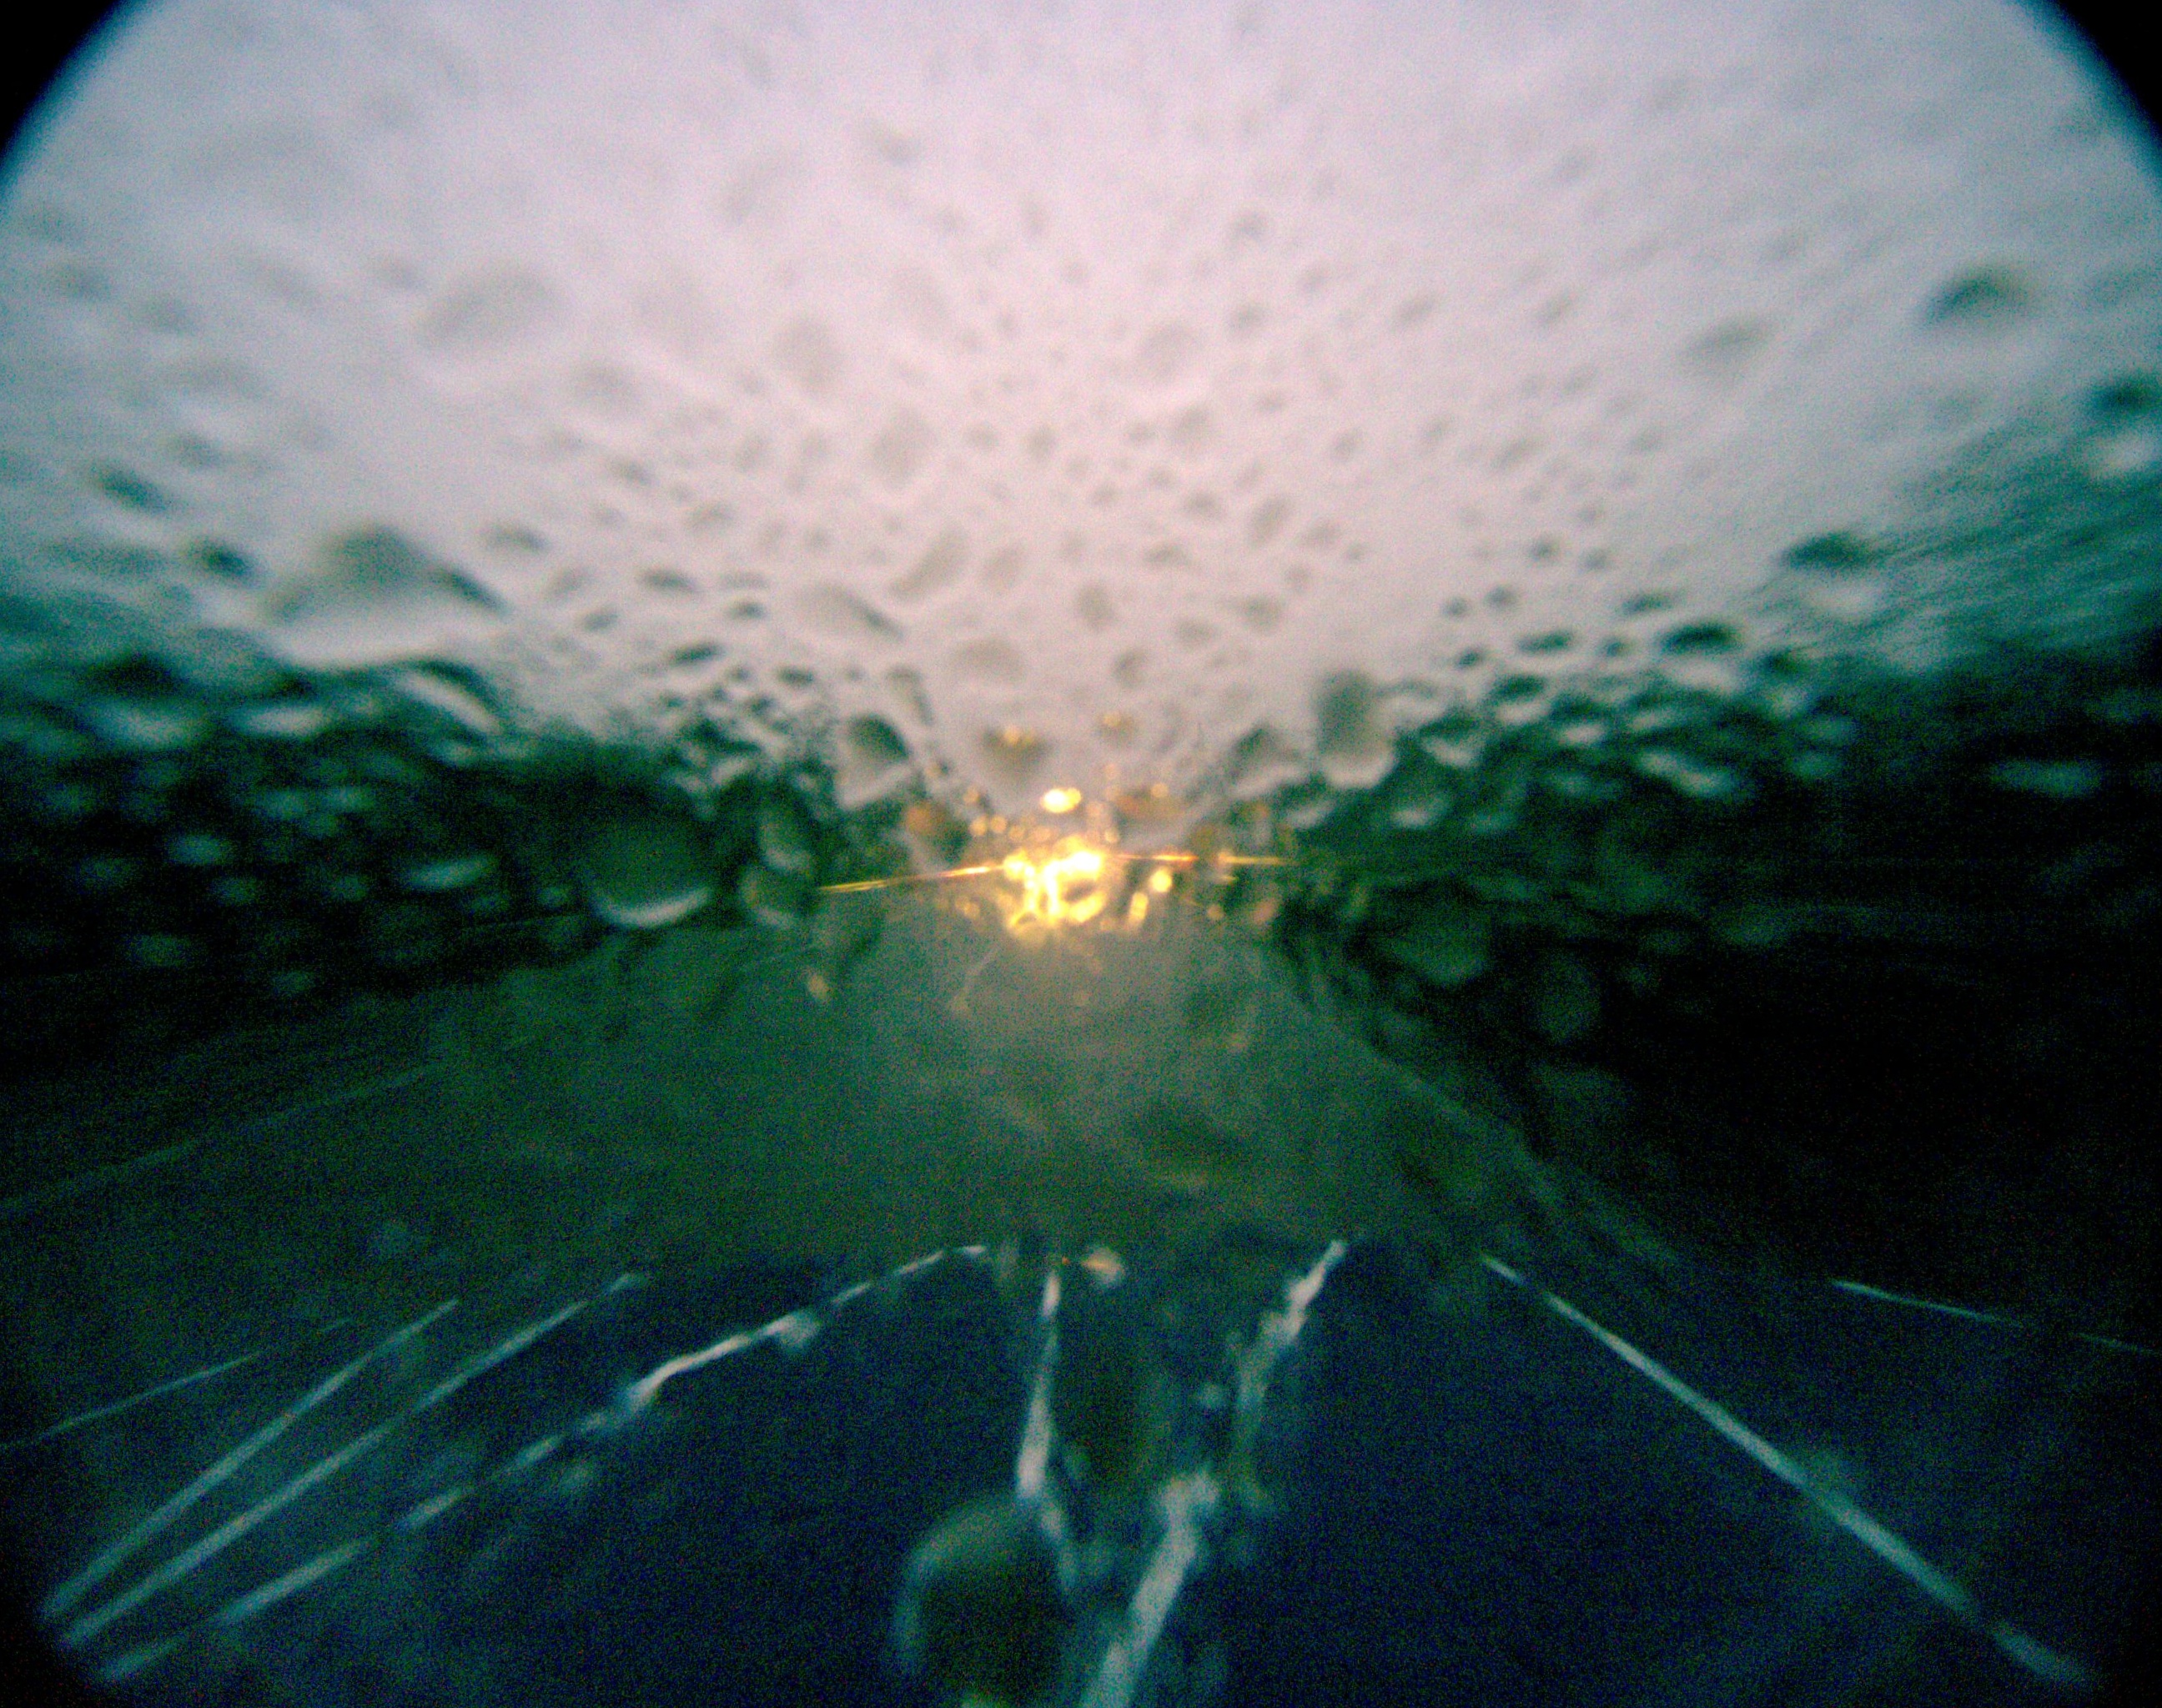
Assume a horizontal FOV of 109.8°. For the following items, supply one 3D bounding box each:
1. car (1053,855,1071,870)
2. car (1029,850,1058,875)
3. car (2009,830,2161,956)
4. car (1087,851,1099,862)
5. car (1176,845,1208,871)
[{"bbox_3d":[-2.384,1.024,94.648,1.998,1.674,4.000,-4,0,1],"label":"car"},{"bbox_3d":[-2.688,0.588,55.172,1.748,1.643,3.999,-2,1,1],"label":"car"},{"bbox_3d":[12.420,0.403,7.314,1.772,1.351,4.250,-1,0,0],"label":"car"},{"bbox_3d":[2.061,0.457,130.332,1.998,1.674,4.000,-4,0,1],"label":"car"},{"bbox_3d":[8.698,0.286,59.700,1.841,1.805,4.000,-4,0,0],"label":"car"}]
